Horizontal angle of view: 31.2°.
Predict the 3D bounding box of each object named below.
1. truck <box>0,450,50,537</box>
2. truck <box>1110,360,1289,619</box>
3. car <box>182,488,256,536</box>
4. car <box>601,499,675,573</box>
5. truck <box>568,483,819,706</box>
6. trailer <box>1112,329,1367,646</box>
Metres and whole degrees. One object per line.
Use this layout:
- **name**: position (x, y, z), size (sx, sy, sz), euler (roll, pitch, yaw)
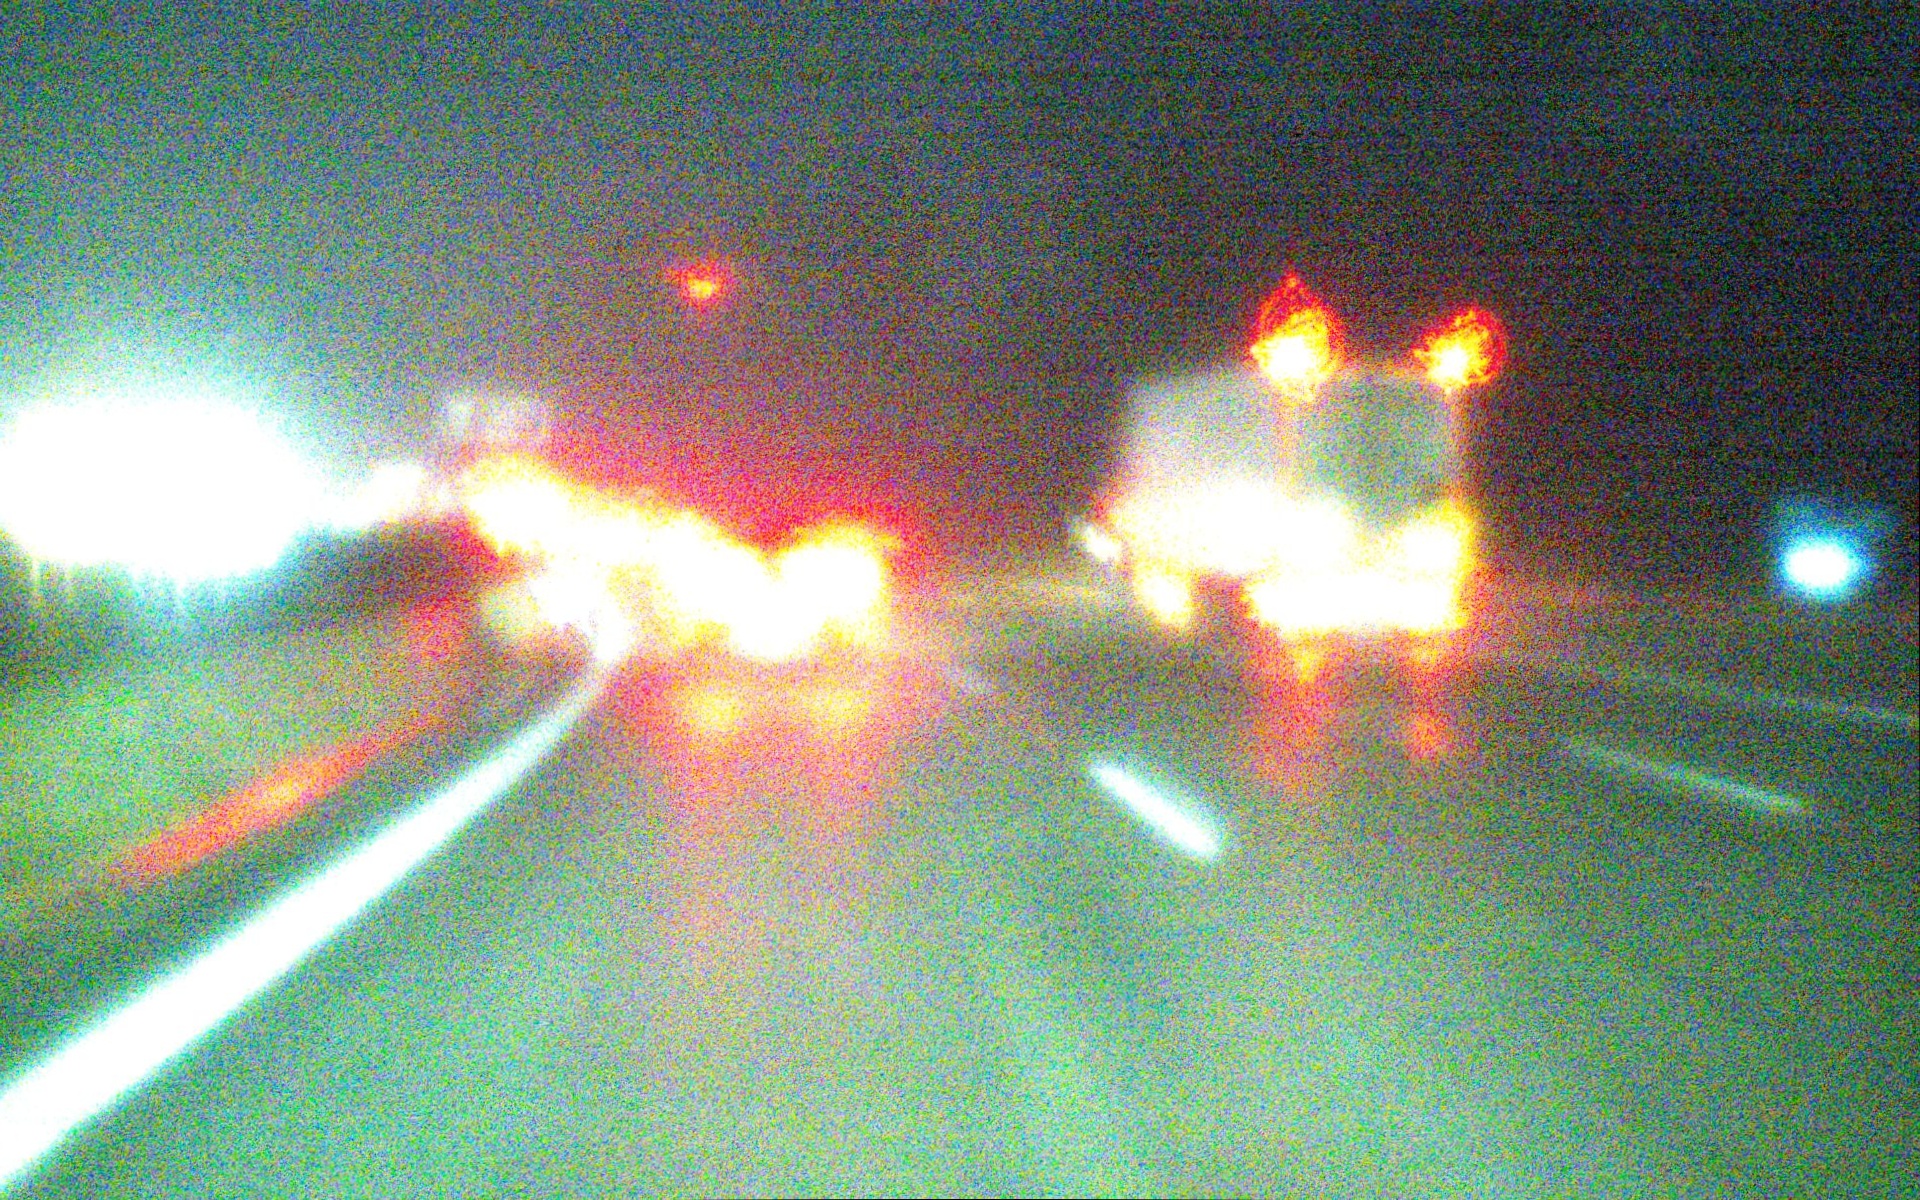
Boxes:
- **truck**: position (-59.248, -6.773, 217.044), size (2.751, 5.080, 5.885), euler (4, 2, -18)
- **truck**: position (4.086, -1.900, 59.649), size (2.710, 4.226, 5.293), euler (1, 1, 1)
- **car**: position (-26.368, -3.157, 122.470), size (1.993, 1.473, 4.001), euler (5, 2, -5)
- **car**: position (-8.944, -1.773, 95.668), size (1.993, 2.007, 4.001), euler (0, 1, -5)
- **truck**: position (-2.855, -0.172, 38.406), size (2.145, 2.070, 6.604), euler (5, 2, 0)
- **trailer**: position (4.077, -1.735, 53.180), size (2.739, 4.233, 13.373), euler (-1, 2, 0)
